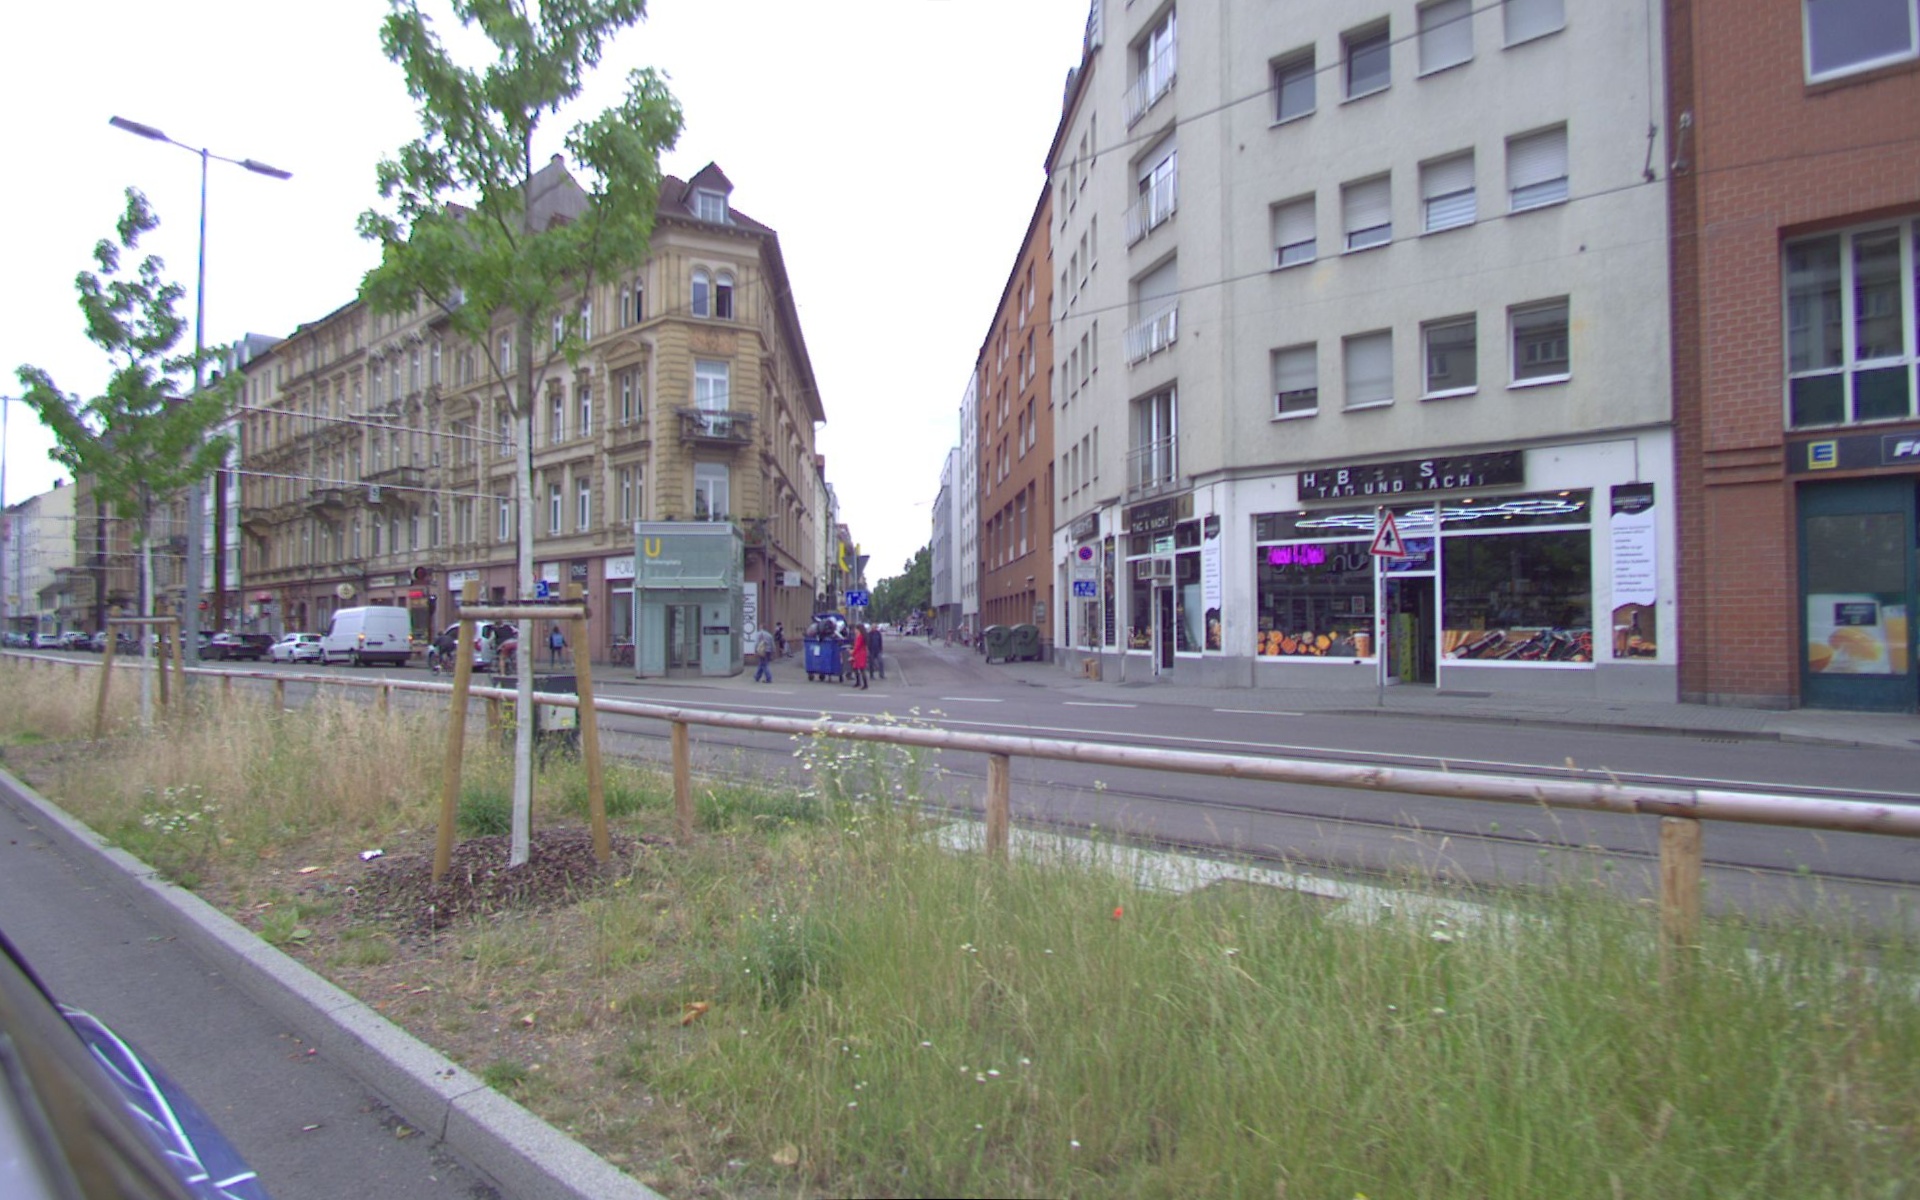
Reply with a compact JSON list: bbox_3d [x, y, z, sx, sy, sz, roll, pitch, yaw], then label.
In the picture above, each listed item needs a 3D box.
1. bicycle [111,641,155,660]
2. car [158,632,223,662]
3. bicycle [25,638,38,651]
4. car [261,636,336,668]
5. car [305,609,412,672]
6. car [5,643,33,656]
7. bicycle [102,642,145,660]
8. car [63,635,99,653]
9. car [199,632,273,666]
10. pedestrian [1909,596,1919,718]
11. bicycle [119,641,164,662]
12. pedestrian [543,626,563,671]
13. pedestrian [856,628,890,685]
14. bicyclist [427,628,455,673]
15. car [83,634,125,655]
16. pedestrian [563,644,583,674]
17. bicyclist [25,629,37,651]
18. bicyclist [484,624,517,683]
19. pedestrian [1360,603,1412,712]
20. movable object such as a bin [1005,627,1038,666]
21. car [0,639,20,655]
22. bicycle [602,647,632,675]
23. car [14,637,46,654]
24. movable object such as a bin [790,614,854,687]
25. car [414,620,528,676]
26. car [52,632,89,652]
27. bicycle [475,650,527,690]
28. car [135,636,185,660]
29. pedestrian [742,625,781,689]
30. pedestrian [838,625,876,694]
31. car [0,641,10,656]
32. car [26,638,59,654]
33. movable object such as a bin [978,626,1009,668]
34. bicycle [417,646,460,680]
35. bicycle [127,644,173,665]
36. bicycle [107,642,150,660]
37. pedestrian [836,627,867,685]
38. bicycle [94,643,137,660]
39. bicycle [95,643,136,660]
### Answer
[{"bbox_3d":[-58.479,3.571,71.560,0.666,1.339,2.258,-2,-4,40],"label":"bicycle"},{"bbox_3d":[-45.578,2.810,59.921,5.024,1.703,1.796,-2,-4,38],"label":"car"},{"bbox_3d":[-80.972,3.872,88.251,2.044,1.183,0.578,-2,-4,42],"label":"bicycle"},{"bbox_3d":[-31.487,2.481,48.133,4.160,1.434,1.753,-2,-5,39],"label":"car"},{"bbox_3d":[-25.619,1.725,43.005,5.660,2.506,2.032,-2,-5,39],"label":"car"},{"bbox_3d":[-101.934,5.379,109.614,3.430,1.391,1.631,-3,-4,37],"label":"car"},{"bbox_3d":[-60.591,3.703,73.302,0.704,1.212,2.258,-2,-4,40],"label":"bicycle"},{"bbox_3d":[-72.900,3.674,83.901,3.918,1.500,1.725,-3,-4,41],"label":"car"},{"bbox_3d":[-38.774,2.603,54.141,5.047,1.702,1.900,-2,-5,39],"label":"car"},{"bbox_3d":[13.709,0.794,13.996,0.720,1.700,0.655,0,-2,31],"label":"pedestrian"},{"bbox_3d":[-55.829,3.519,69.040,0.666,1.339,2.258,-2,-4,40],"label":"bicycle"},{"bbox_3d":[-14.656,1.738,36.475,0.546,1.568,0.659,0,-1,-32],"label":"pedestrian"},{"bbox_3d":[-2.651,1.707,30.756,0.651,1.700,0.926,2,-2,-34],"label":"pedestrian"},{"bbox_3d":[-16.319,1.584,31.821,0.811,1.417,0.474,-2,-3,39],"label":"bicyclist"},{"bbox_3d":[-65.196,3.418,77.045,4.222,1.545,1.726,-2,-4,40],"label":"car"},{"bbox_3d":[-13.974,2.127,36.545,0.547,1.038,0.454,0,-1,-41],"label":"pedestrian"},{"bbox_3d":[-81.094,3.503,88.347,1.028,1.897,0.638,-2,-1,42],"label":"bicyclist"},{"bbox_3d":[-12.289,1.418,27.070,0.811,1.552,0.486,-2,-3,39],"label":"bicyclist"},{"bbox_3d":[6.858,0.900,16.292,0.719,1.700,0.656,0,-1,28],"label":"pedestrian"},{"bbox_3d":[2.319,1.748,38.502,0.994,1.416,1.241,-1,-1,-9],"label":"movable object such as a bin"},{"bbox_3d":[-105.666,5.183,112.297,3.918,1.770,1.684,-2,-4,42],"label":"car"},{"bbox_3d":[-12.333,2.183,36.358,0.336,0.966,1.689,0,-1,-42],"label":"bicycle"},{"bbox_3d":[-91.052,4.464,99.063,4.542,1.533,1.805,-3,-4,41],"label":"car"},{"bbox_3d":[-3.928,1.412,28.761,1.019,1.996,1.619,2,-2,-43],"label":"movable object such as a bin"},{"bbox_3d":[-17.522,1.721,36.171,4.515,1.879,1.884,-2,-4,39],"label":"car"},{"bbox_3d":[-76.585,3.631,87.134,4.043,1.685,1.726,-2,-4,40],"label":"car"},{"bbox_3d":[-12.303,1.857,27.094,1.910,1.029,0.471,-2,-3,39],"label":"bicycle"},{"bbox_3d":[-51.687,3.077,65.343,3.916,1.500,1.726,-2,-4,40],"label":"car"},{"bbox_3d":[-5.407,1.529,27.584,0.811,1.700,0.725,2,-2,-32],"label":"pedestrian"},{"bbox_3d":[-2.611,1.497,25.642,0.659,1.700,0.715,0,-2,30],"label":"pedestrian"},{"bbox_3d":[-113.115,5.668,118.979,4.179,1.684,1.682,-2,-1,42],"label":"car"},{"bbox_3d":[-87.372,4.414,96.344,4.043,1.476,1.726,-2,-4,40],"label":"car"},{"bbox_3d":[1.280,1.776,38.459,0.931,1.512,1.241,-1,-1,-9],"label":"movable object such as a bin"},{"bbox_3d":[-16.460,1.983,31.915,1.910,1.029,0.474,-2,-3,39],"label":"bicycle"},{"bbox_3d":[-53.861,3.631,67.288,0.666,1.339,2.258,-2,-4,40],"label":"bicycle"},{"bbox_3d":[-59.432,3.644,72.369,0.666,1.212,2.258,-2,-4,40],"label":"bicycle"},{"bbox_3d":[-3.256,1.678,30.368,0.651,1.700,0.724,2,-2,-34],"label":"pedestrian"},{"bbox_3d":[-61.721,3.753,73.974,0.704,1.212,2.258,-2,-4,40],"label":"bicycle"},{"bbox_3d":[-62.150,3.783,74.527,0.547,1.212,2.258,-2,-2,40],"label":"bicycle"}]
